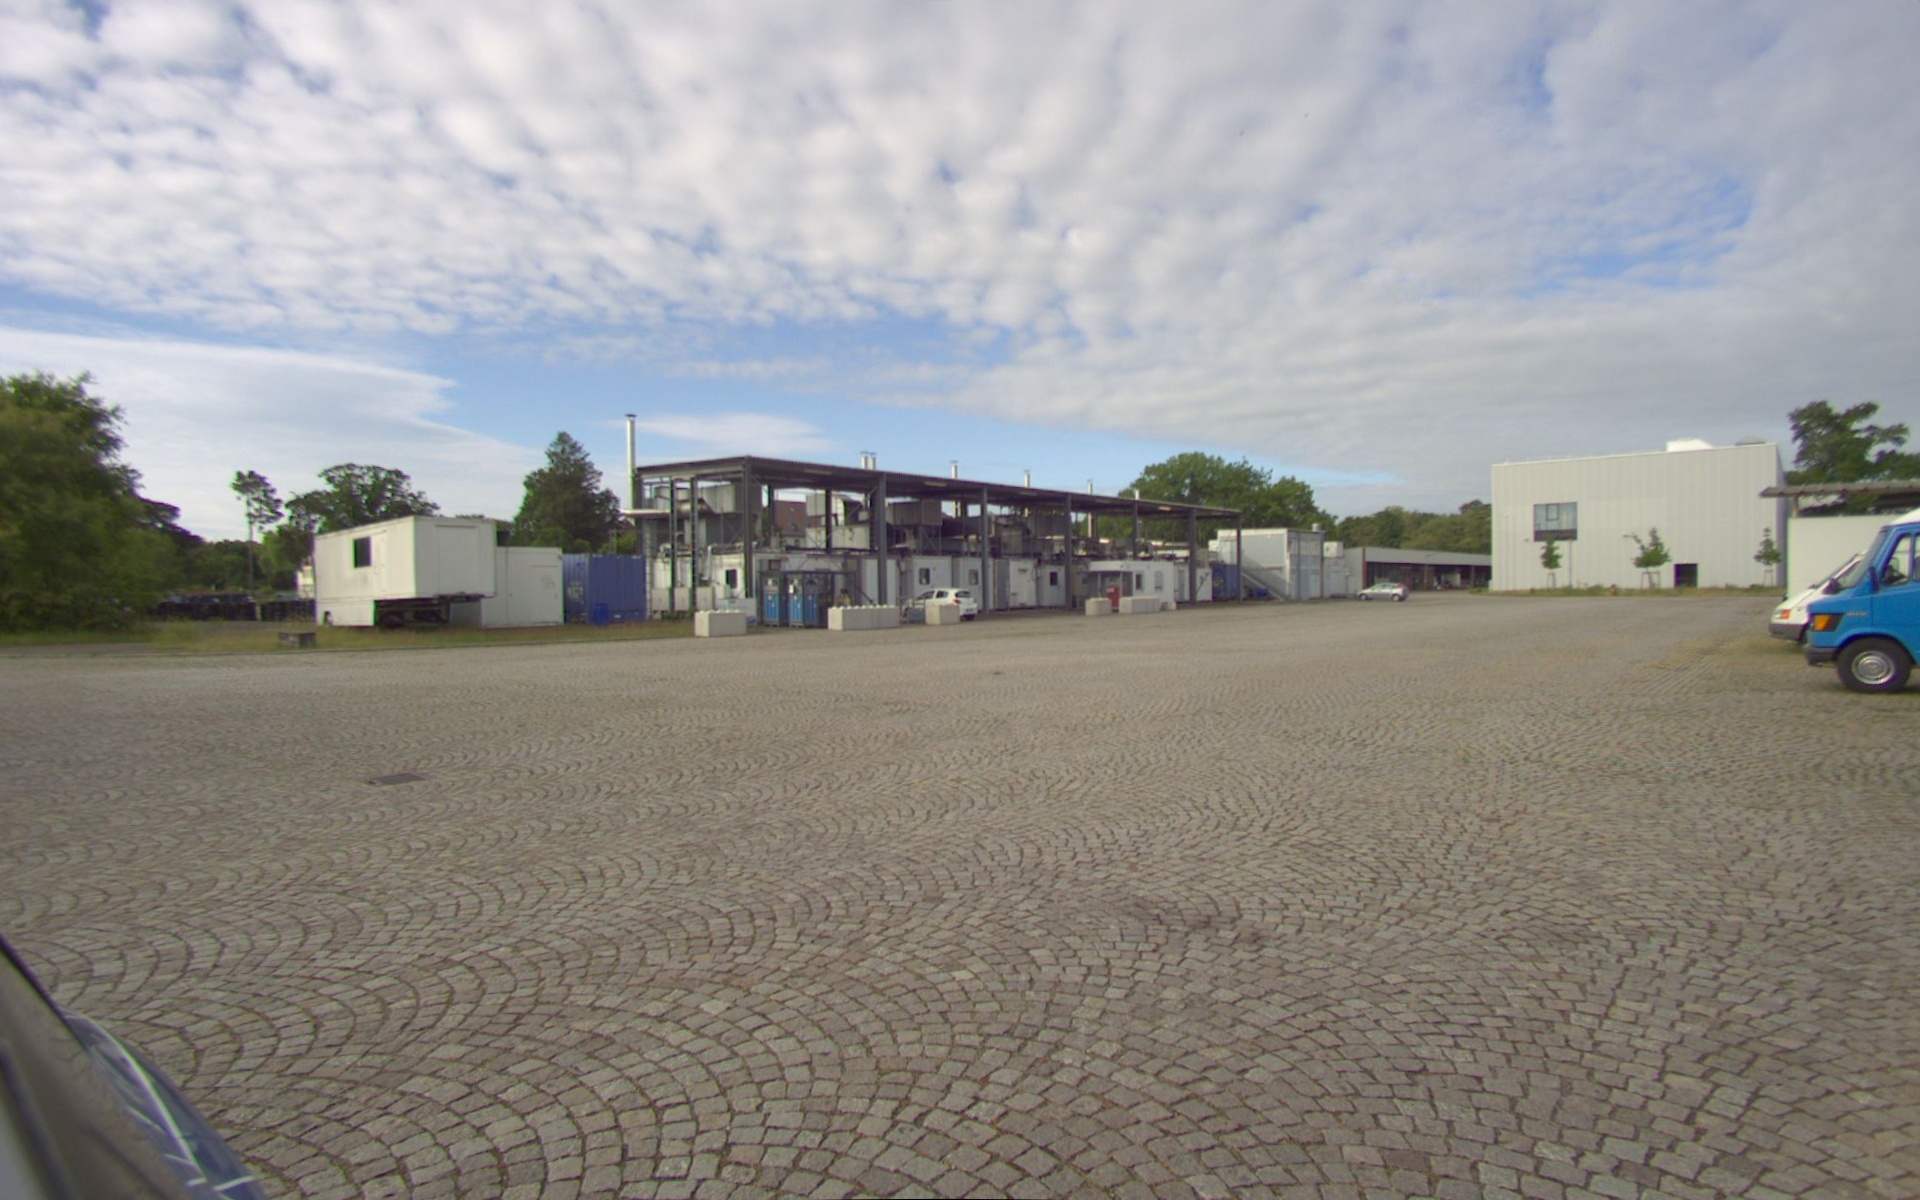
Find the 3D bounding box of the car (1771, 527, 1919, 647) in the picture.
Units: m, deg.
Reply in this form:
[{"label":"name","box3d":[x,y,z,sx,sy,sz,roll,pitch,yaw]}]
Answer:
[{"label":"car","box3d":[17.898,-0.253,18.432,4.686,2.125,1.971,-2,0,44]}]

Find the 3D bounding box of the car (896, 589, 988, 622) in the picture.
[{"label":"car","box3d":[-0.846,0.264,46.899,3.995,1.484,1.909,0,-1,38]}]

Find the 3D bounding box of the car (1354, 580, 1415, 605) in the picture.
[{"label":"car","box3d":[35.101,-0.632,83.702,4.303,1.961,1.975,-1,0,38]}]

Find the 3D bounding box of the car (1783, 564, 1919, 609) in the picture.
[{"label":"car","box3d":[34.933,-0.492,39.641,4.148,1.657,1.974,0,-1,39]}]

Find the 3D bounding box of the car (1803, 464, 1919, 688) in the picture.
[{"label":"car","box3d":[13.032,-0.326,11.302,5.398,2.602,1.971,-2,0,44]}]

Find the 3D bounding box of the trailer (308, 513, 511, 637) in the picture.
[{"label":"trailer","box3d":[-19.233,-0.739,34.870,10.777,3.690,2.838,-1,0,43]}]
